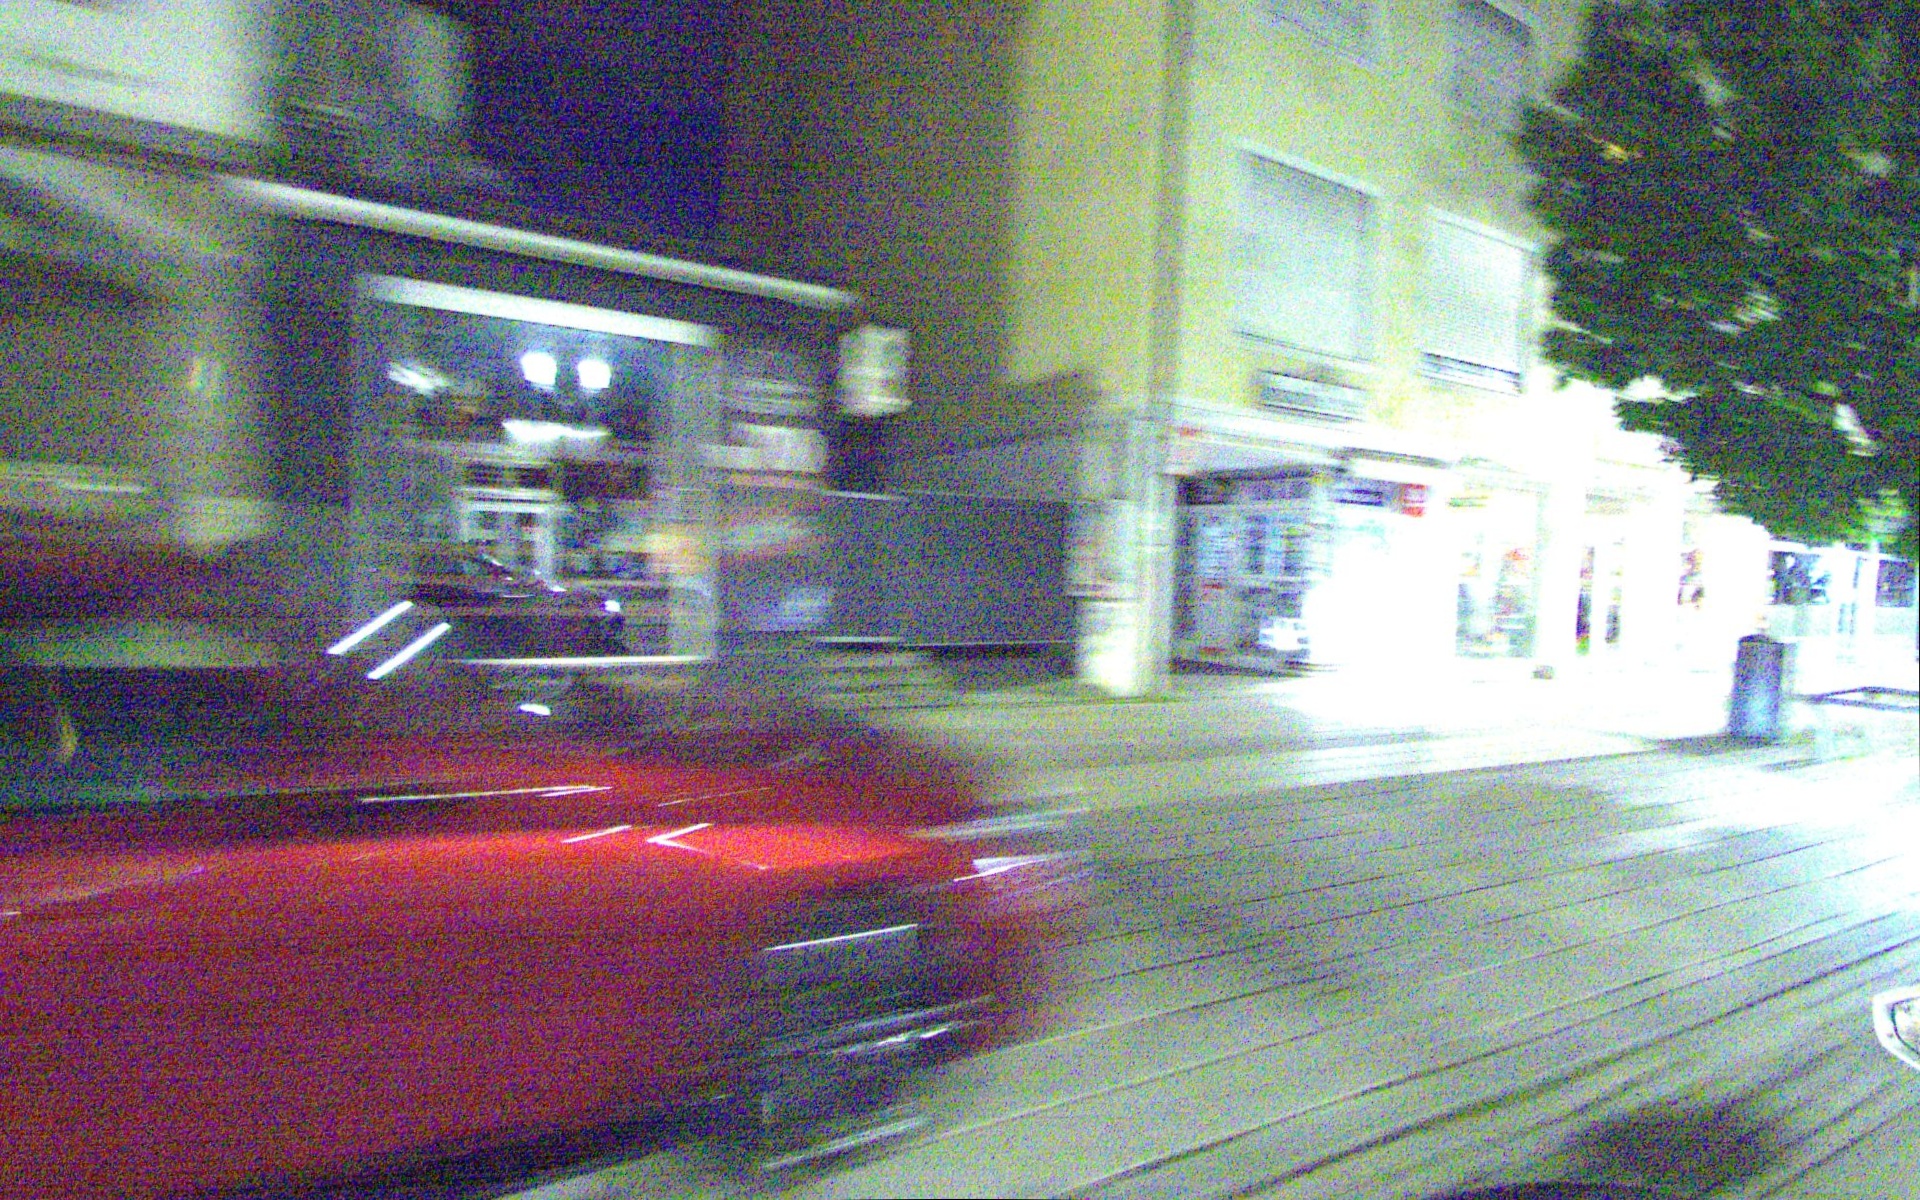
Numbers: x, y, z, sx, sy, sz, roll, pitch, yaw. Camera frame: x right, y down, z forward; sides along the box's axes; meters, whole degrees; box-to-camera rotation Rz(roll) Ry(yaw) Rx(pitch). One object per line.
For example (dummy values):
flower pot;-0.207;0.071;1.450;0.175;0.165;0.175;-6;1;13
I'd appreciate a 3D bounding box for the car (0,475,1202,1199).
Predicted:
car;-2.005;0.480;2.371;4.949;1.508;2.009;1;5;-31
